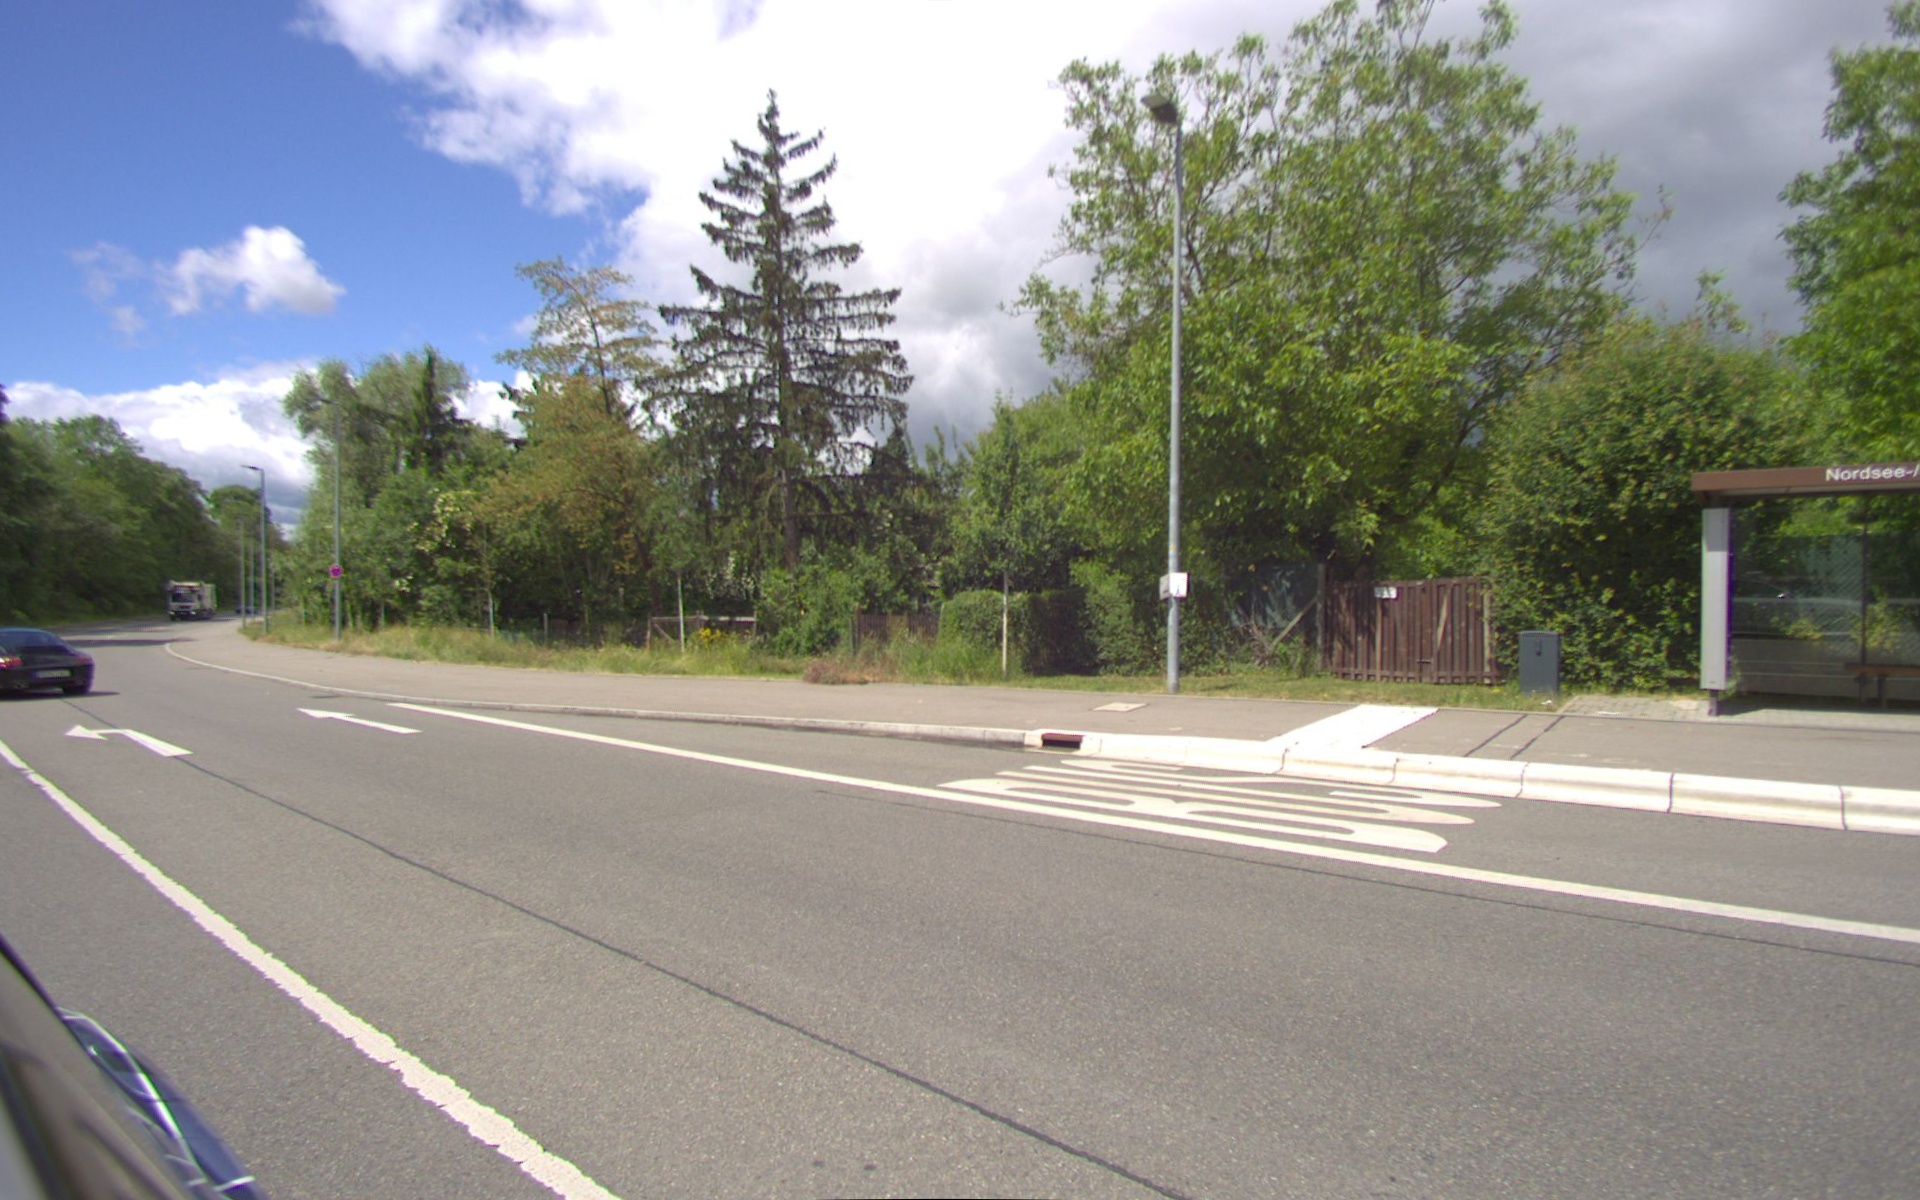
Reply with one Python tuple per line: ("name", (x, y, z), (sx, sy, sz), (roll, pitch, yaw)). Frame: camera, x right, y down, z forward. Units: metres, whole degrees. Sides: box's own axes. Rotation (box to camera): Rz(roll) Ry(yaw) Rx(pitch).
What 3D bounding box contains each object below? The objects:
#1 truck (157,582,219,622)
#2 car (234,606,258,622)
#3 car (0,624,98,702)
("truck", (-79.598, 0.178, 104.611), (3.187, 3.889, 9.906), (1, 0, -26))
("car", (-93.080, 1.866, 131.927), (1.965, 2.029, 4.013), (1, 0, -28))
("car", (-18.210, 1.144, 19.122), (3.988, 1.311, 1.722), (-1, 0, 30))
